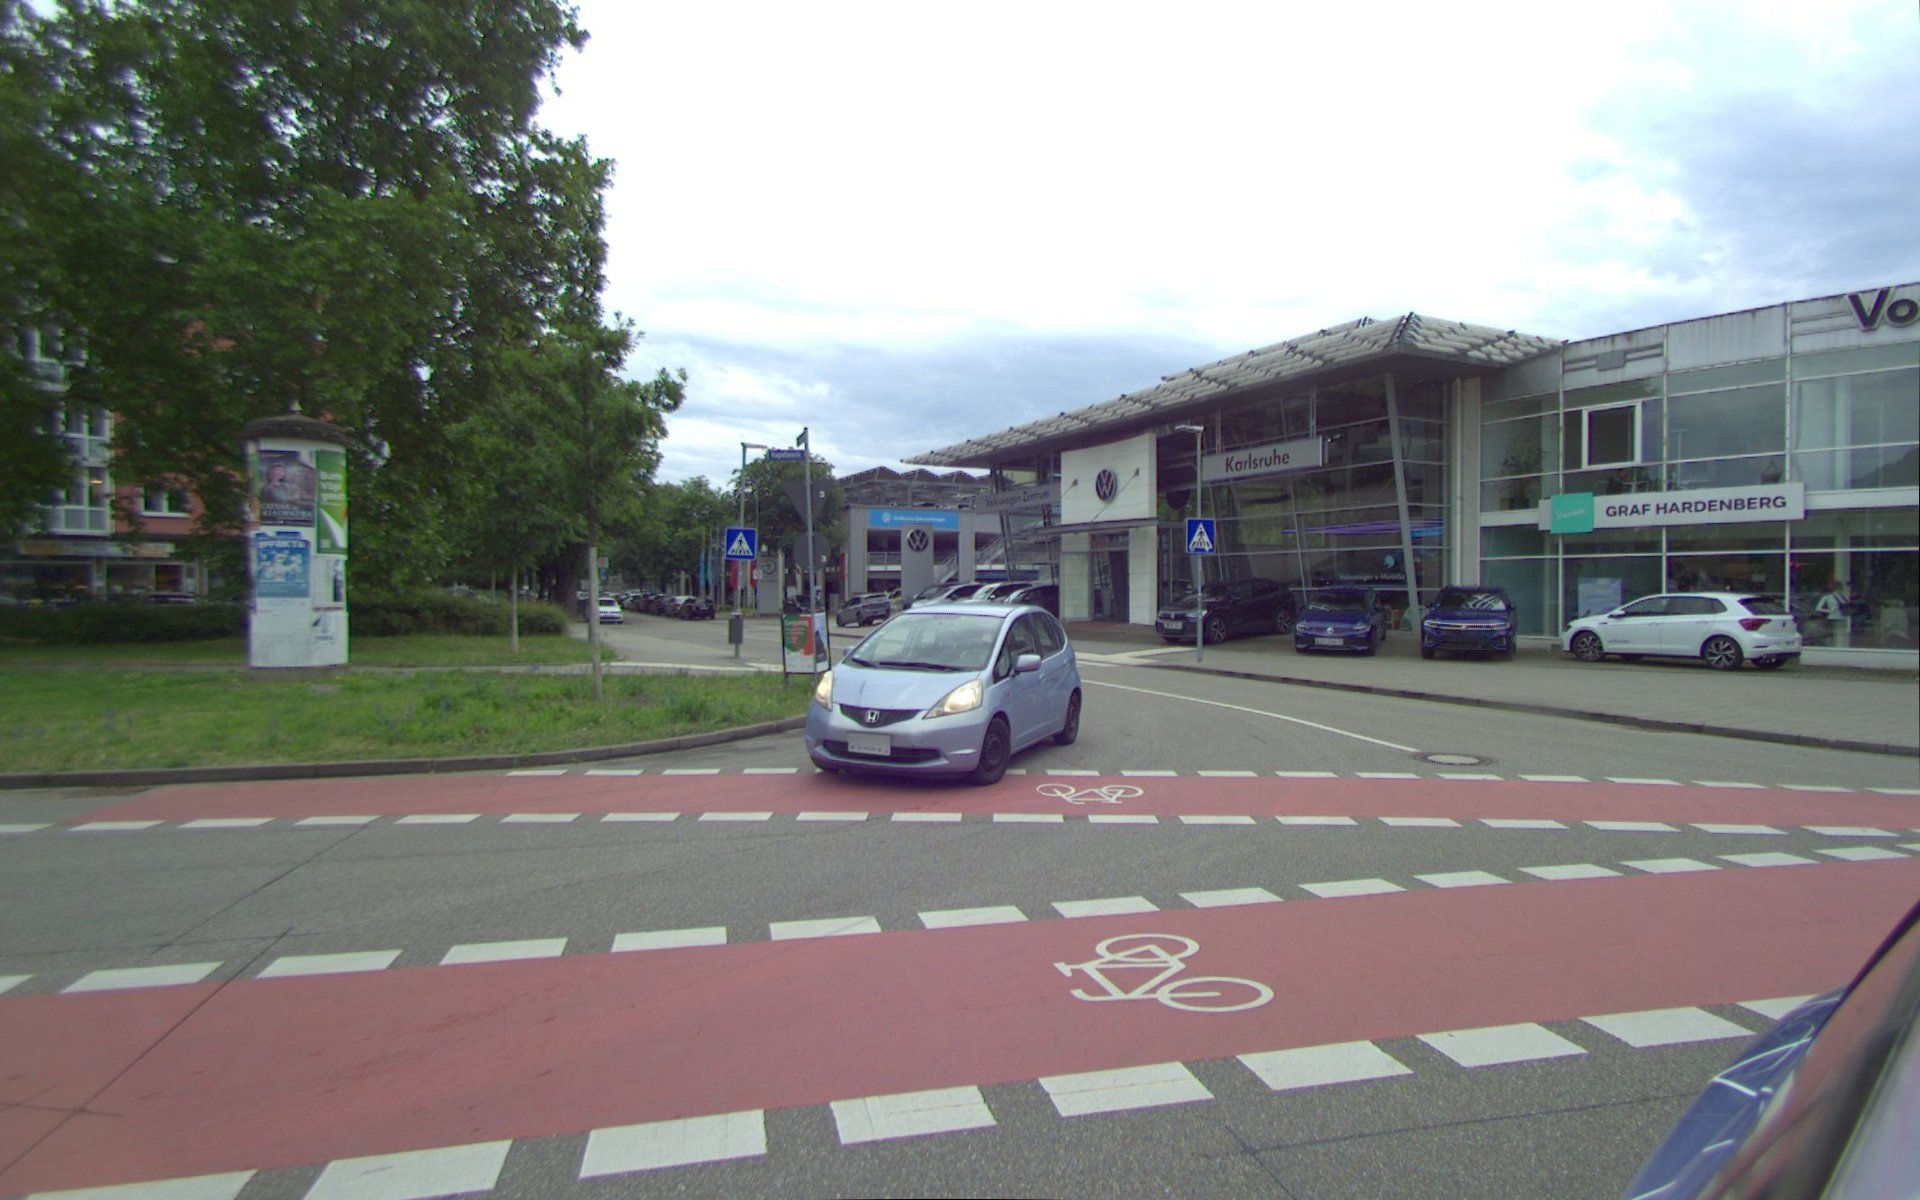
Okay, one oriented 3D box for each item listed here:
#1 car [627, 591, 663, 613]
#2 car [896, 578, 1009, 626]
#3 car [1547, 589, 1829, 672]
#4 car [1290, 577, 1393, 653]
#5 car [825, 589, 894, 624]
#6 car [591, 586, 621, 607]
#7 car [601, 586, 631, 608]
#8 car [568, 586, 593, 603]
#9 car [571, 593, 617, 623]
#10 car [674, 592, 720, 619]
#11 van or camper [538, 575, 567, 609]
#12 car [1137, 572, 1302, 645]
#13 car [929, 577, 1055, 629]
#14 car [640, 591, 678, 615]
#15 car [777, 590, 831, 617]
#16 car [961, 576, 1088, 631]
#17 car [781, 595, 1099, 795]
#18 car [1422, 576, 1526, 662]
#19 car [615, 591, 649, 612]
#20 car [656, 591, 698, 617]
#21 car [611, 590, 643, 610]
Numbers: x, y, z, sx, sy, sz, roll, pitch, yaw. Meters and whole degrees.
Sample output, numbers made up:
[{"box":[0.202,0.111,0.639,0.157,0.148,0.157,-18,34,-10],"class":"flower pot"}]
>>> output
[{"box":[-25.086,0.135,80.412,1.824,1.644,4.481,-2,2,-29],"class":"car"},{"box":[-0.330,0.064,43.312,4.386,1.720,1.872,-4,2,-27],"class":"car"},{"box":[14.299,0.527,20.189,1.746,1.471,4.270,0,0,-24],"class":"car"},{"box":[9.370,0.285,24.647,1.841,1.522,4.300,0,3,28],"class":"car"},{"box":[-4.933,0.290,49.234,1.881,1.583,4.018,-2,0,-29],"class":"car"},{"box":[-35.439,-0.380,101.334,1.983,2.010,4.788,-2,2,-29],"class":"car"},{"box":[-32.733,-0.308,96.250,1.824,2.010,4.481,-2,1,-29],"class":"car"},{"box":[-45.055,-0.668,120.066,1.983,2.010,4.788,-2,2,-29],"class":"car"},{"box":[-20.755,0.403,57.267,1.823,1.567,4.482,2,0,-28],"class":"car"},{"box":[-17.311,0.336,66.392,1.824,1.644,4.481,-2,2,-29],"class":"car"},{"box":[-34.886,-0.712,86.644,1.959,2.807,4.006,0,0,-27],"class":"van or camper"},{"box":[7.239,0.205,28.088,4.424,1.652,1.861,-5,2,-33],"class":"car"},{"box":[1.321,0.094,40.736,4.680,1.720,1.863,-4,2,-27],"class":"car"},{"box":[-22.674,0.196,76.113,1.824,1.644,4.481,-2,2,-29],"class":"car"},{"box":[-9.767,0.180,63.278,1.861,1.567,4.481,-2,2,-29],"class":"car"},{"box":[2.457,0.097,38.248,4.387,1.717,1.900,-4,2,-28],"class":"car"},{"box":[0.052,0.710,9.922,1.733,1.485,4.069,0,1,21],"class":"car"},{"box":[11.469,0.331,22.446,1.885,1.581,4.179,0,3,29],"class":"car"},{"box":[-27.489,0.073,84.745,1.824,1.644,4.481,-2,2,-29],"class":"car"},{"box":[-20.033,0.258,71.573,1.824,1.644,4.481,-2,2,-29],"class":"car"},{"box":[-30.000,-0.045,91.056,1.824,1.644,4.481,-2,2,-29],"class":"car"}]
